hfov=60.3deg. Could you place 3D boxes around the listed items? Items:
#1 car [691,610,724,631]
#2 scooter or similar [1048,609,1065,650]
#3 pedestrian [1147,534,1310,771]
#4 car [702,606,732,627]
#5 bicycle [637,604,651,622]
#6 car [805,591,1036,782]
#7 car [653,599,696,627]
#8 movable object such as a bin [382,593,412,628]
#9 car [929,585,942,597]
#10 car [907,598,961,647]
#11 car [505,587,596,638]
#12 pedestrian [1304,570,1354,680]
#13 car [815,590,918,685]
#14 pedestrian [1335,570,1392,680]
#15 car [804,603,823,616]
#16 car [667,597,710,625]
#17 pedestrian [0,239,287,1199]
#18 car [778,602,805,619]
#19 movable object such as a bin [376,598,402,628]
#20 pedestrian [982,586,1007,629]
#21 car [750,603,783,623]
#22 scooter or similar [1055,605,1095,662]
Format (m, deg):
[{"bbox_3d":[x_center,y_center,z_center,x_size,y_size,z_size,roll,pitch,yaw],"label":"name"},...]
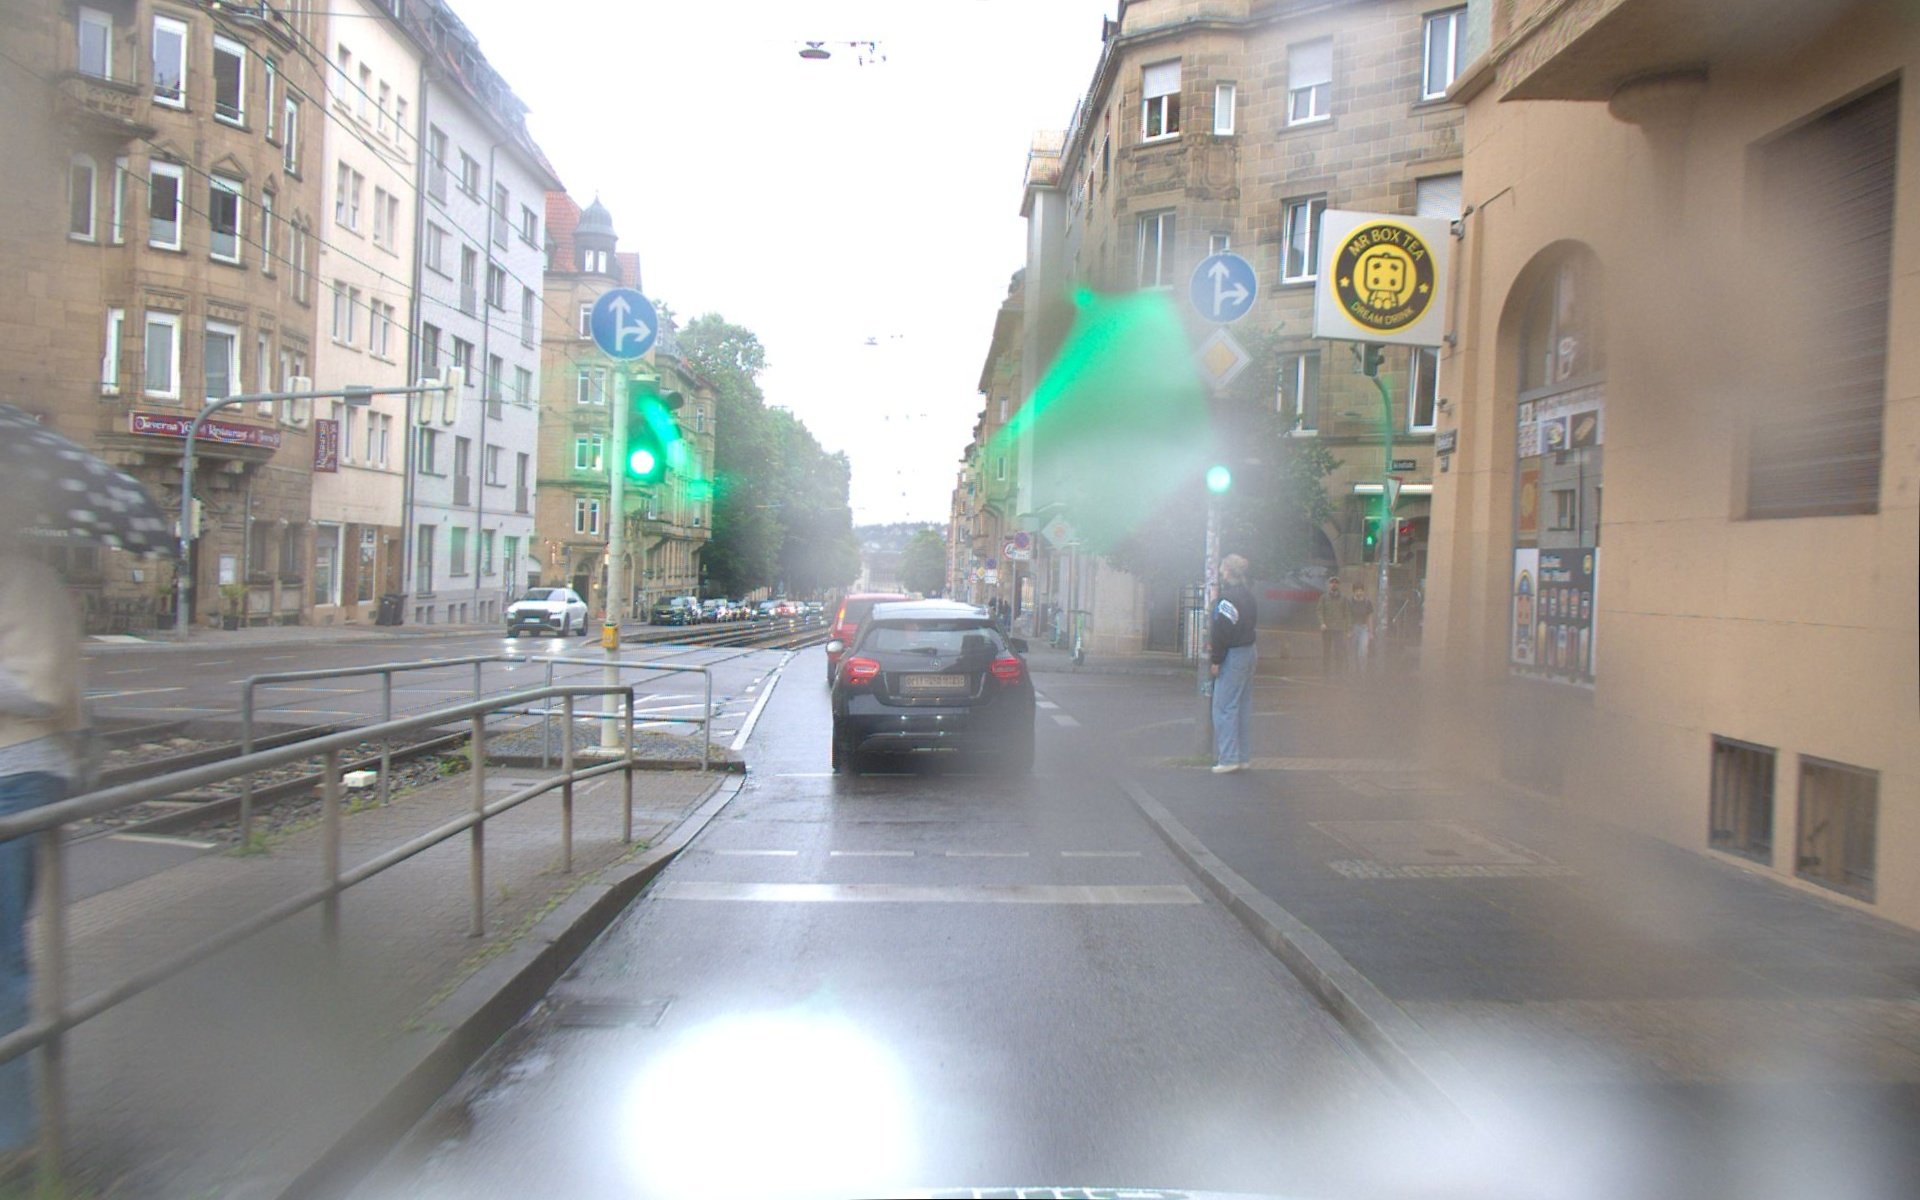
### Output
[{"bbox_3d":[-16.637,1.332,109.084,1.537,1.339,3.481,0,0,0],"label":"car"},{"bbox_3d":[3.000,0.901,51.314,0.387,1.237,1.106,1,0,-3],"label":"scooter or similar"},{"bbox_3d":[2.230,0.415,13.734,0.951,1.872,0.897,-2,0,43],"label":"pedestrian"},{"bbox_3d":[-16.638,1.104,113.423,1.537,1.438,3.481,0,0,0],"label":"car"},{"bbox_3d":[-18.154,0.745,95.005,0.586,1.018,2.077,0,0,-5],"label":"bicycle"},{"bbox_3d":[-0.296,0.700,15.338,1.828,1.477,4.000,2,0,1],"label":"car"},{"bbox_3d":[-16.197,0.732,93.962,1.687,1.568,3.934,0,0,0],"label":"car"},{"bbox_3d":[-18.780,0.345,55.191,0.699,1.092,0.687,5,-1,-2],"label":"movable object such as a bin"},{"bbox_3d":[-3.040,-1.133,207.980,1.581,1.340,3.999,2,-1,-1],"label":"car"},{"bbox_3d":[-0.888,0.741,56.263,1.729,1.586,4.744,0,0,-1],"label":"car"},{"bbox_3d":[-14.150,0.436,57.469,1.953,1.656,5.251,1,0,-1],"label":"car"},{"bbox_3d":[6.240,0.421,28.012,0.582,1.820,0.890,0,-1,-5],"label":"pedestrian"},{"bbox_3d":[-1.618,0.607,28.585,1.617,1.477,3.997,2,0,-4],"label":"car"},{"bbox_3d":[6.840,0.419,28.072,0.668,1.820,0.901,0,-1,-5],"label":"pedestrian"},{"bbox_3d":[-15.488,1.017,174.995,1.660,1.413,3.481,0,0,0],"label":"car"},{"bbox_3d":[-16.313,0.633,99.442,1.769,1.625,4.525,0,0,1],"label":"car"},{"bbox_3d":[-2.260,0.269,3.883,0.907,2.049,0.947,2,0,-1],"label":"pedestrian"},{"bbox_3d":[-13.998,0.867,137.876,1.769,1.384,4.762,0,0,0],"label":"car"},{"bbox_3d":[-18.817,0.430,54.530,0.582,0.927,0.560,5,-1,-2],"label":"movable object such as a bin"},{"bbox_3d":[1.456,0.326,70.025,0.926,1.800,1.014,1,0,-3],"label":"pedestrian"},{"bbox_3d":[-14.053,0.928,120.142,1.908,1.421,4.273,0,0,-1],"label":"car"},{"bbox_3d":[2.514,0.720,36.220,0.625,1.231,1.551,0,0,-5],"label":"scooter or similar"}]
